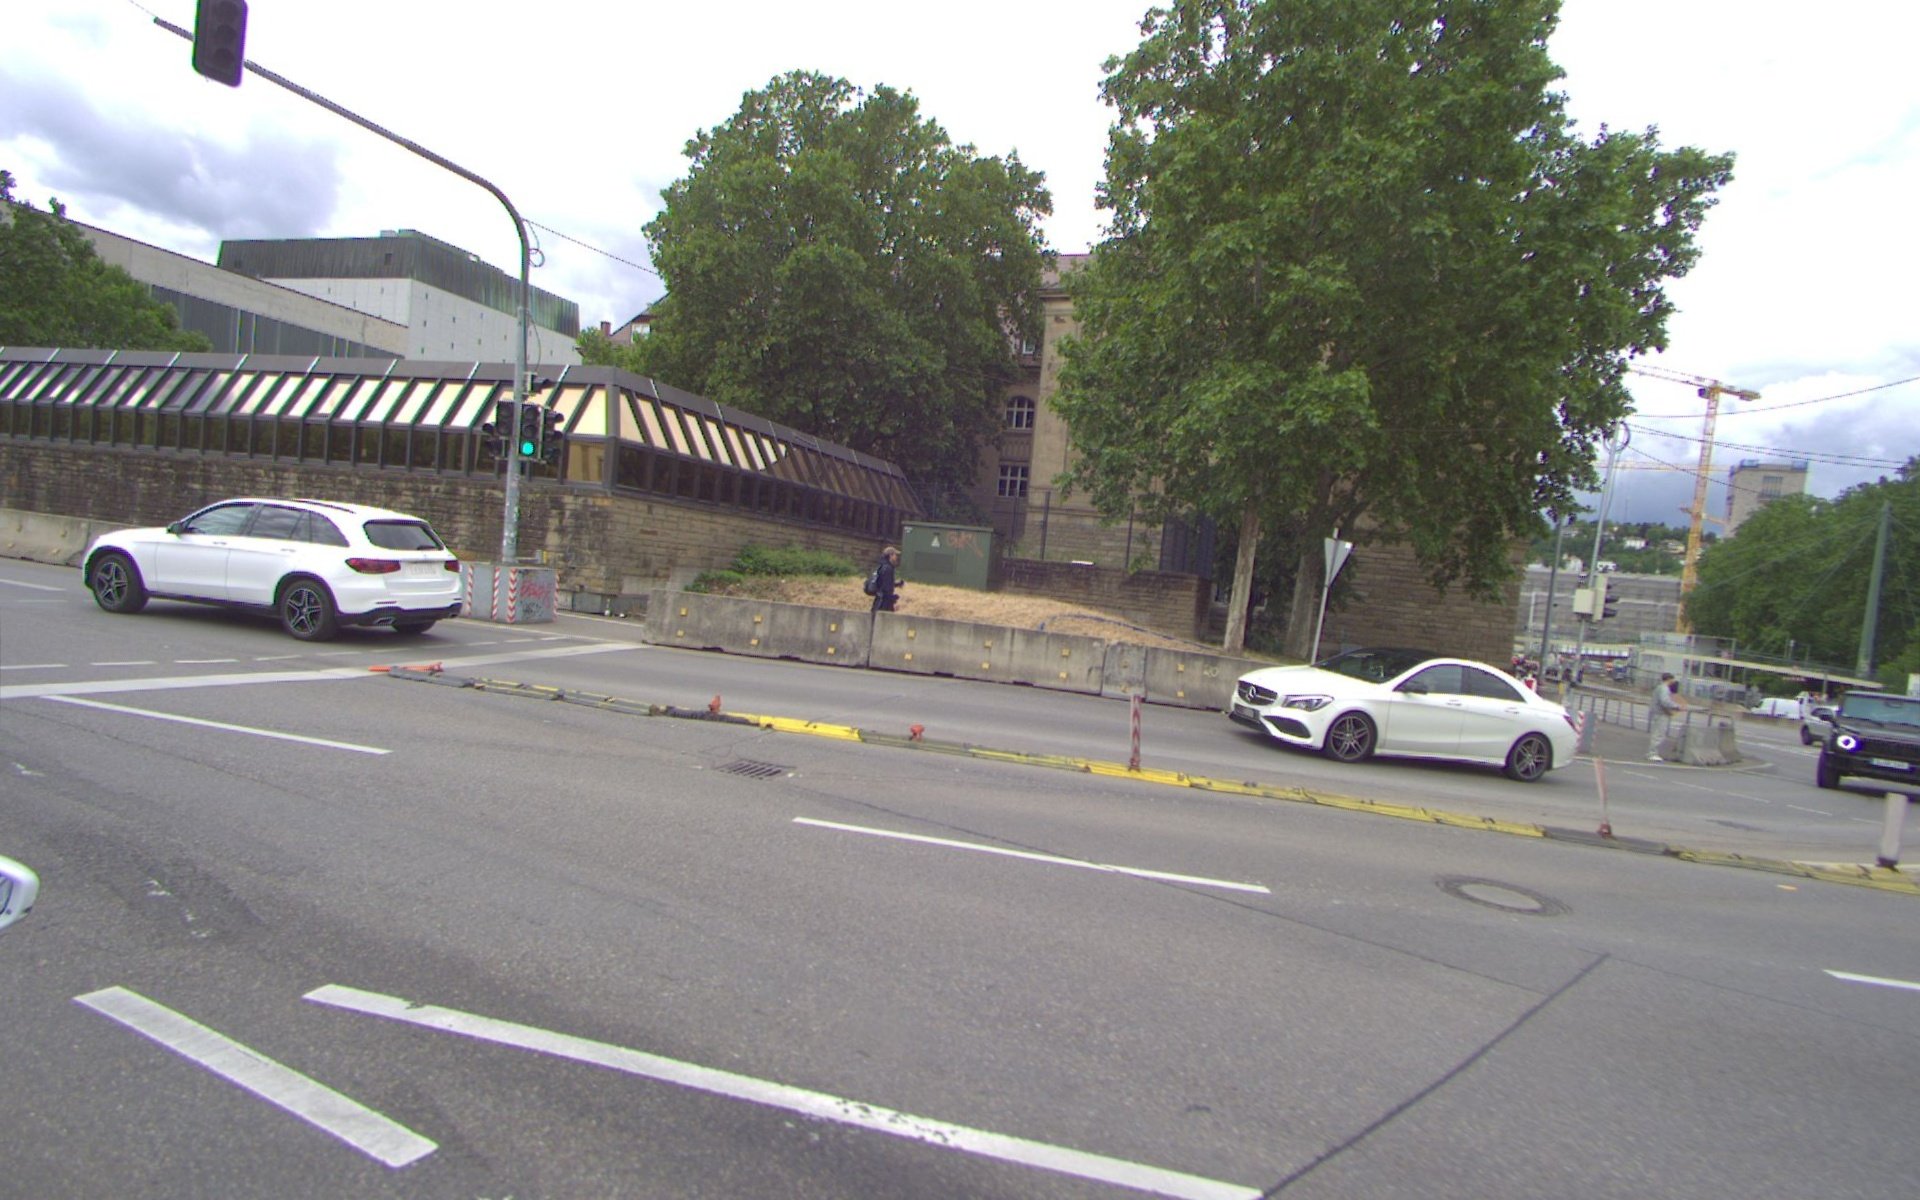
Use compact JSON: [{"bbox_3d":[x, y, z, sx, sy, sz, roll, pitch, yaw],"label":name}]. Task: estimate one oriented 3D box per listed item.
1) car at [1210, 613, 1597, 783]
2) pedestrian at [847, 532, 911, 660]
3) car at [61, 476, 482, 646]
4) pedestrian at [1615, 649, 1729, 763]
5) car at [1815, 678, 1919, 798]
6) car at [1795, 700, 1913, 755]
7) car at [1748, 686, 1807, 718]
[{"bbox_3d":[5.637,1.243,12.898,4.317,1.453,1.733,8,1,-17],"label":"car"},{"bbox_3d":[-1.375,-0.064,16.968,0.836,2.039,0.621,5,1,-12],"label":"pedestrian"},{"bbox_3d":[-8.749,-0.528,12.901,4.464,1.666,1.815,5,4,11],"label":"car"},{"bbox_3d":[14.204,2.099,20.099,1.177,2.040,1.198,5,2,-19],"label":"pedestrian"},{"bbox_3d":[18.219,2.703,19.648,1.914,1.961,3.652,7,0,44],"label":"car"},{"bbox_3d":[34.091,4.820,38.518,1.804,1.588,4.000,5,-1,18],"label":"car"},{"bbox_3d":[56.110,6.960,69.102,1.731,1.708,3.642,6,0,16],"label":"car"}]
